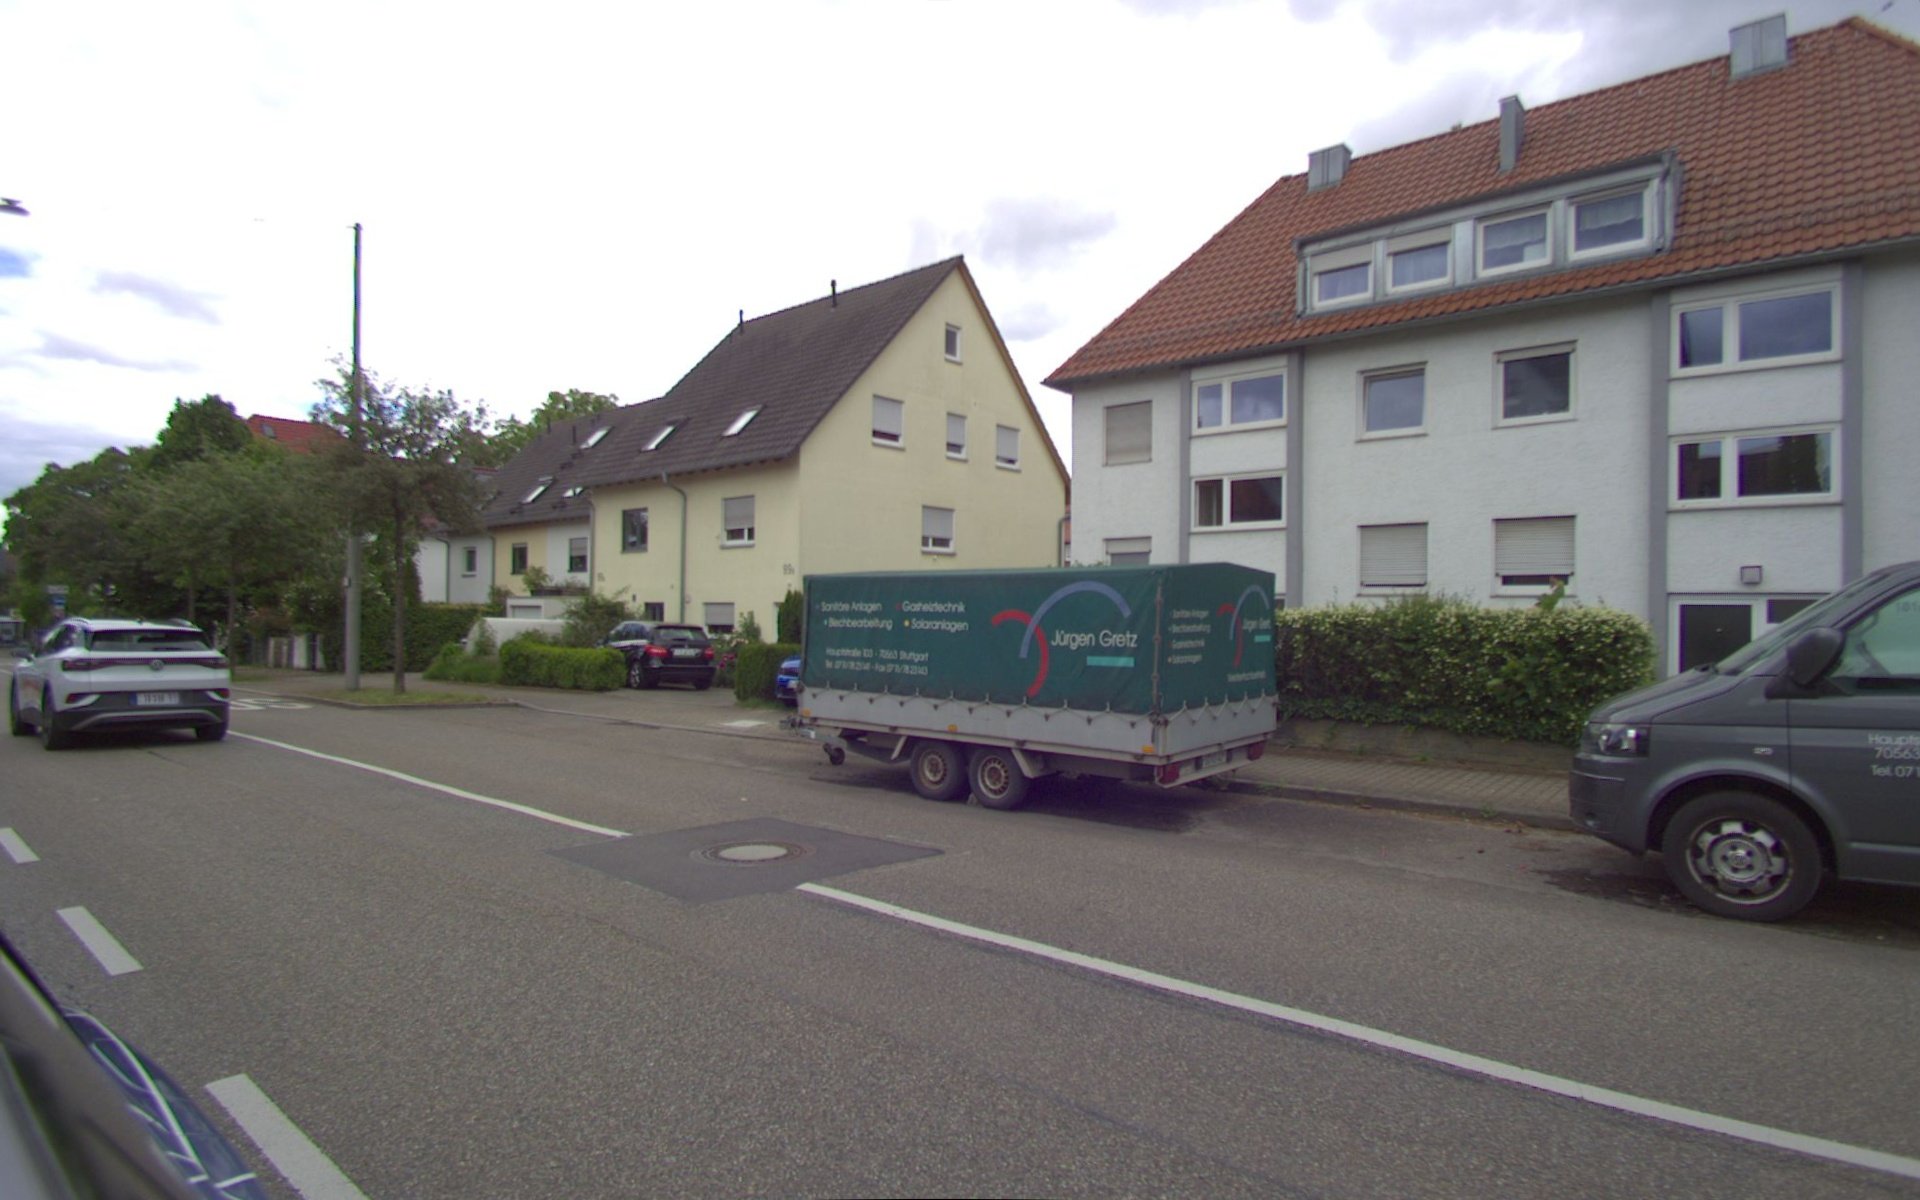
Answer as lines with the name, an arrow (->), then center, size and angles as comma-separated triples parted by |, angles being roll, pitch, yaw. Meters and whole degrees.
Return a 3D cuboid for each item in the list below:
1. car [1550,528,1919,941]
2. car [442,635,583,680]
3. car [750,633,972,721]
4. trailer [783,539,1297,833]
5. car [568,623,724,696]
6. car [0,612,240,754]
car -> 5.907, 0.641, 4.986 | 4.895, 1.964, 1.973 | -2, -3, 41
car -> -13.510, 1.695, 30.698 | 1.701, 1.280, 3.516 | -2, -3, 38
car -> -1.636, 1.277, 17.924 | 1.726, 1.381, 3.950 | -2, -3, 36
trailer -> 0.590, 0.695, 9.536 | 4.422, 2.104, 2.132 | -2, -3, 40
car -> -7.321, 1.354, 23.428 | 3.916, 1.533, 1.729 | -2, -5, 43
car -> -11.413, 1.019, 13.637 | 4.296, 1.616, 1.802 | -2, -3, 41
